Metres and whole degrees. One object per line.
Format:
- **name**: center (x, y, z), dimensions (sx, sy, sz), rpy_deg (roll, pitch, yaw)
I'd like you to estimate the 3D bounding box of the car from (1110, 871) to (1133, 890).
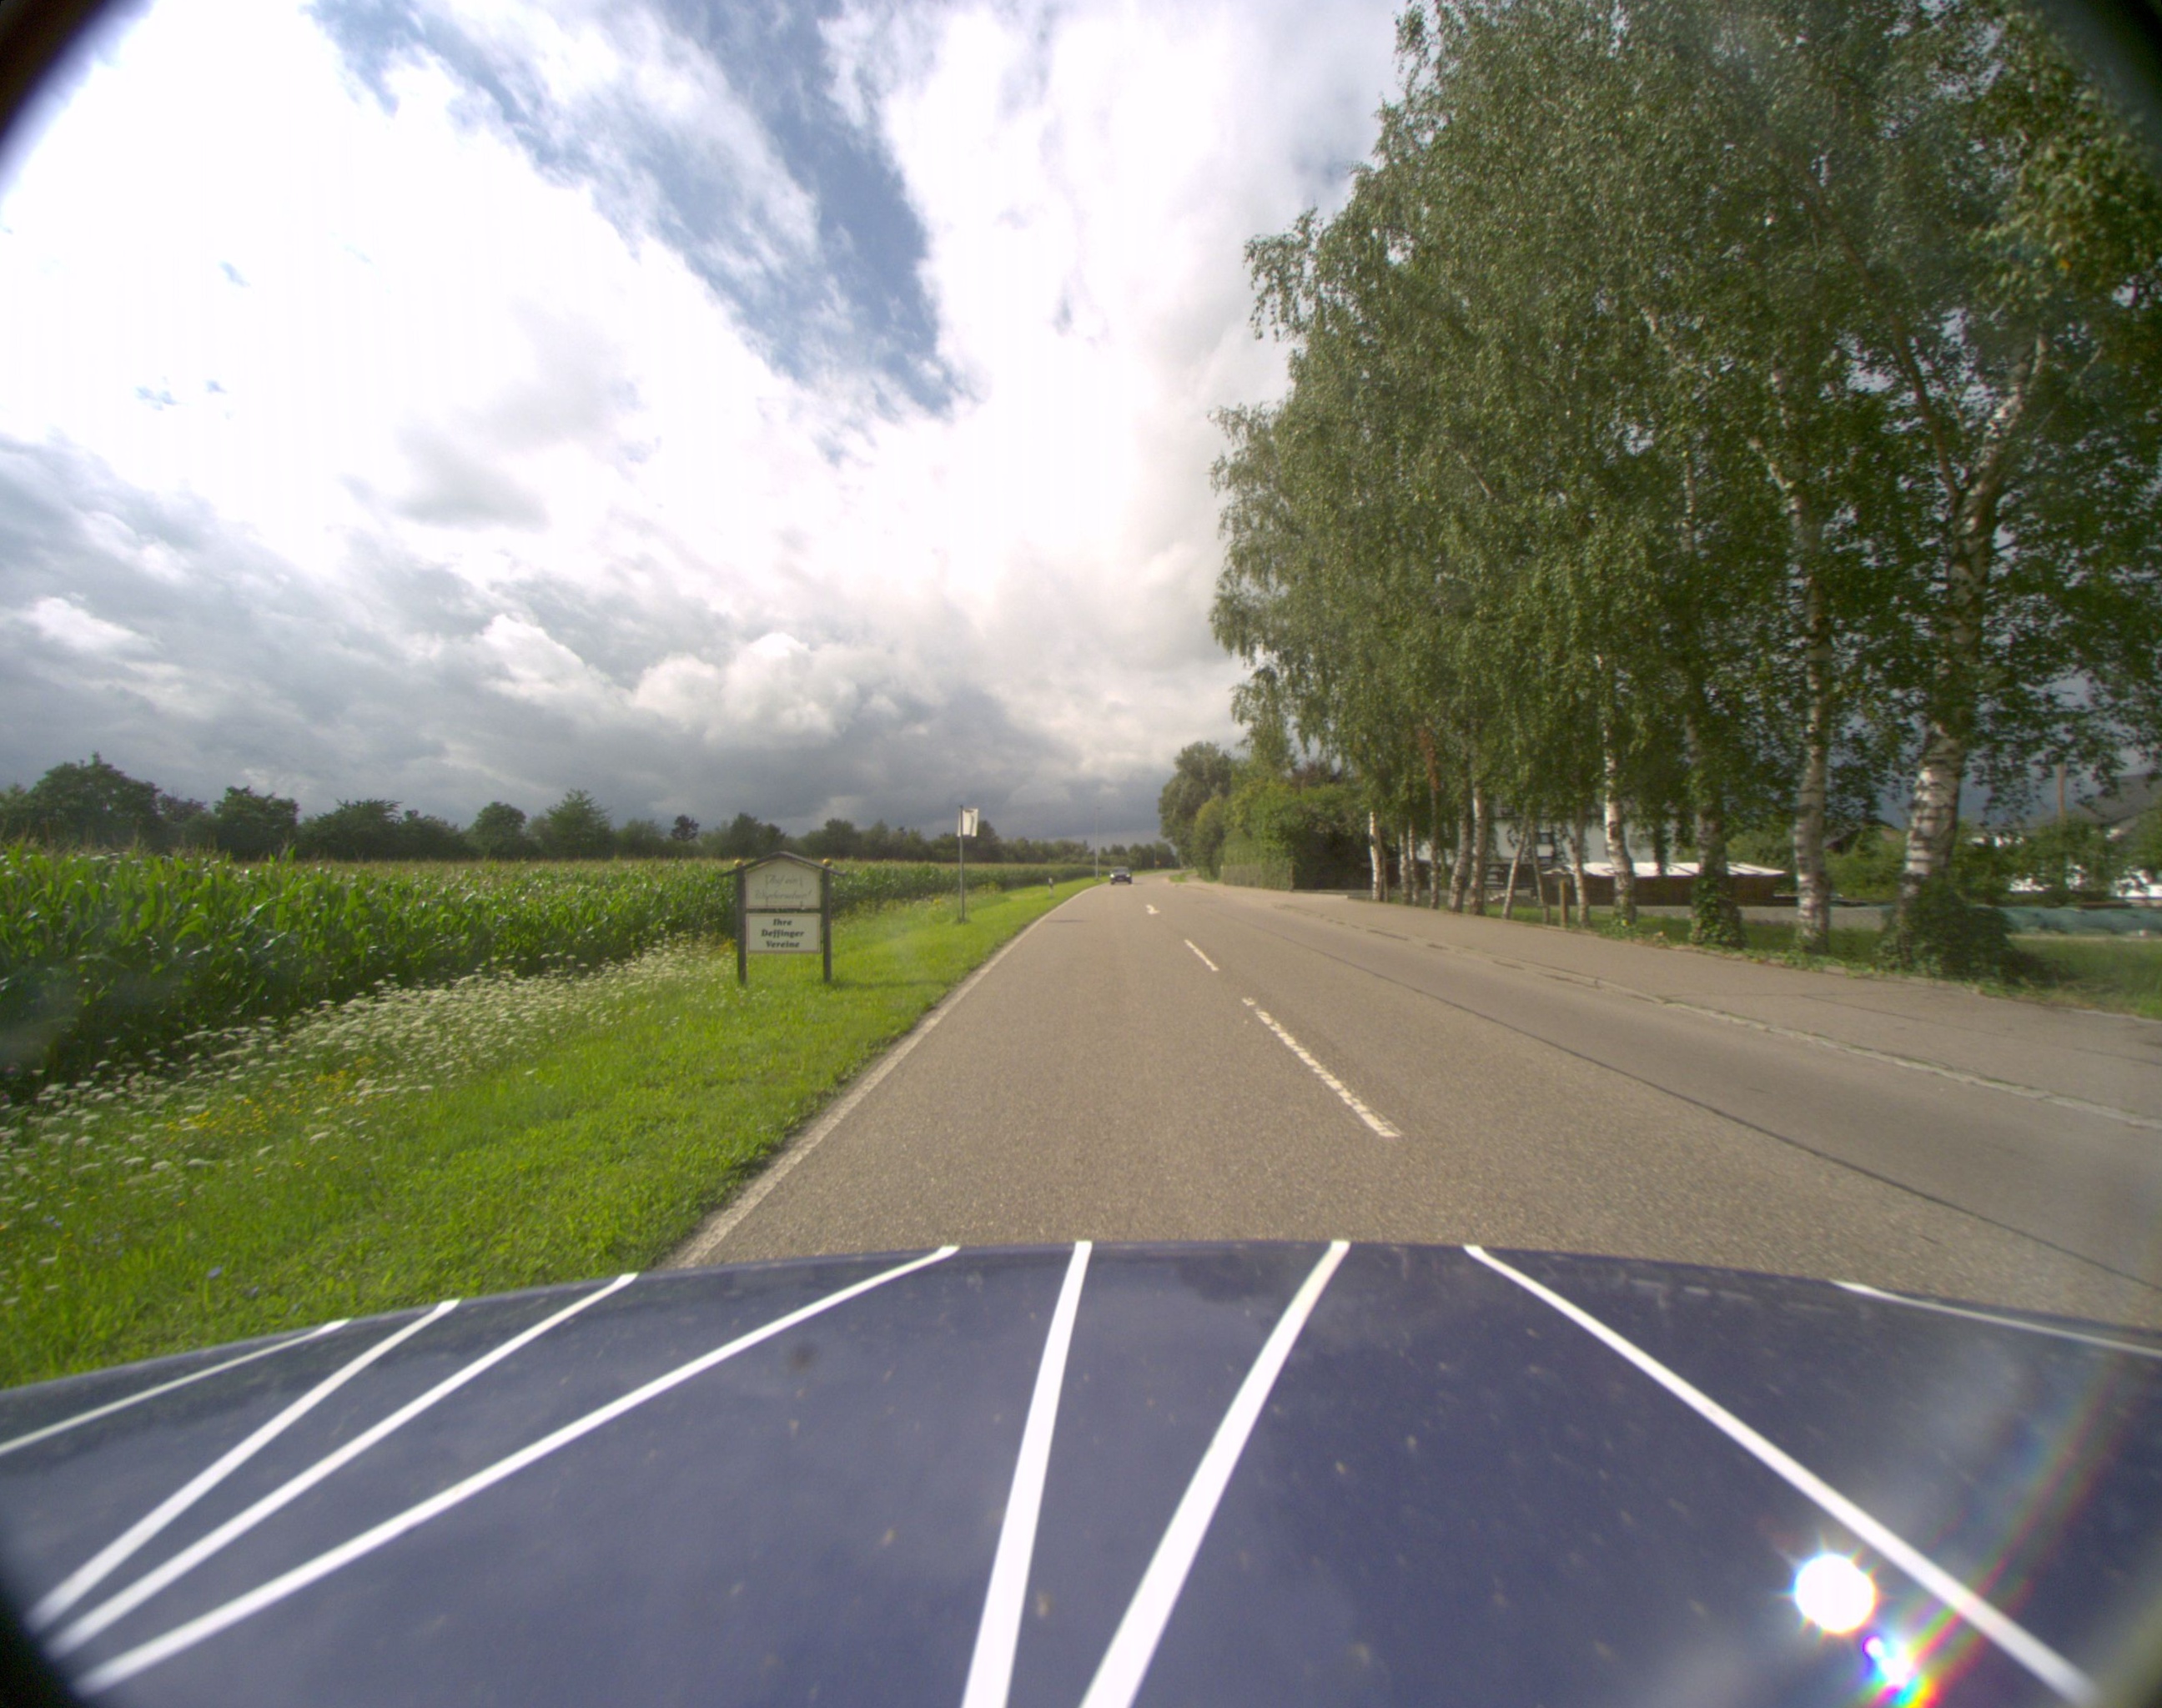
- **car**: center (3.825, 2.474, 70.967), dimensions (1.998, 1.594, 4.002), rpy_deg (-1, -1, 5)
